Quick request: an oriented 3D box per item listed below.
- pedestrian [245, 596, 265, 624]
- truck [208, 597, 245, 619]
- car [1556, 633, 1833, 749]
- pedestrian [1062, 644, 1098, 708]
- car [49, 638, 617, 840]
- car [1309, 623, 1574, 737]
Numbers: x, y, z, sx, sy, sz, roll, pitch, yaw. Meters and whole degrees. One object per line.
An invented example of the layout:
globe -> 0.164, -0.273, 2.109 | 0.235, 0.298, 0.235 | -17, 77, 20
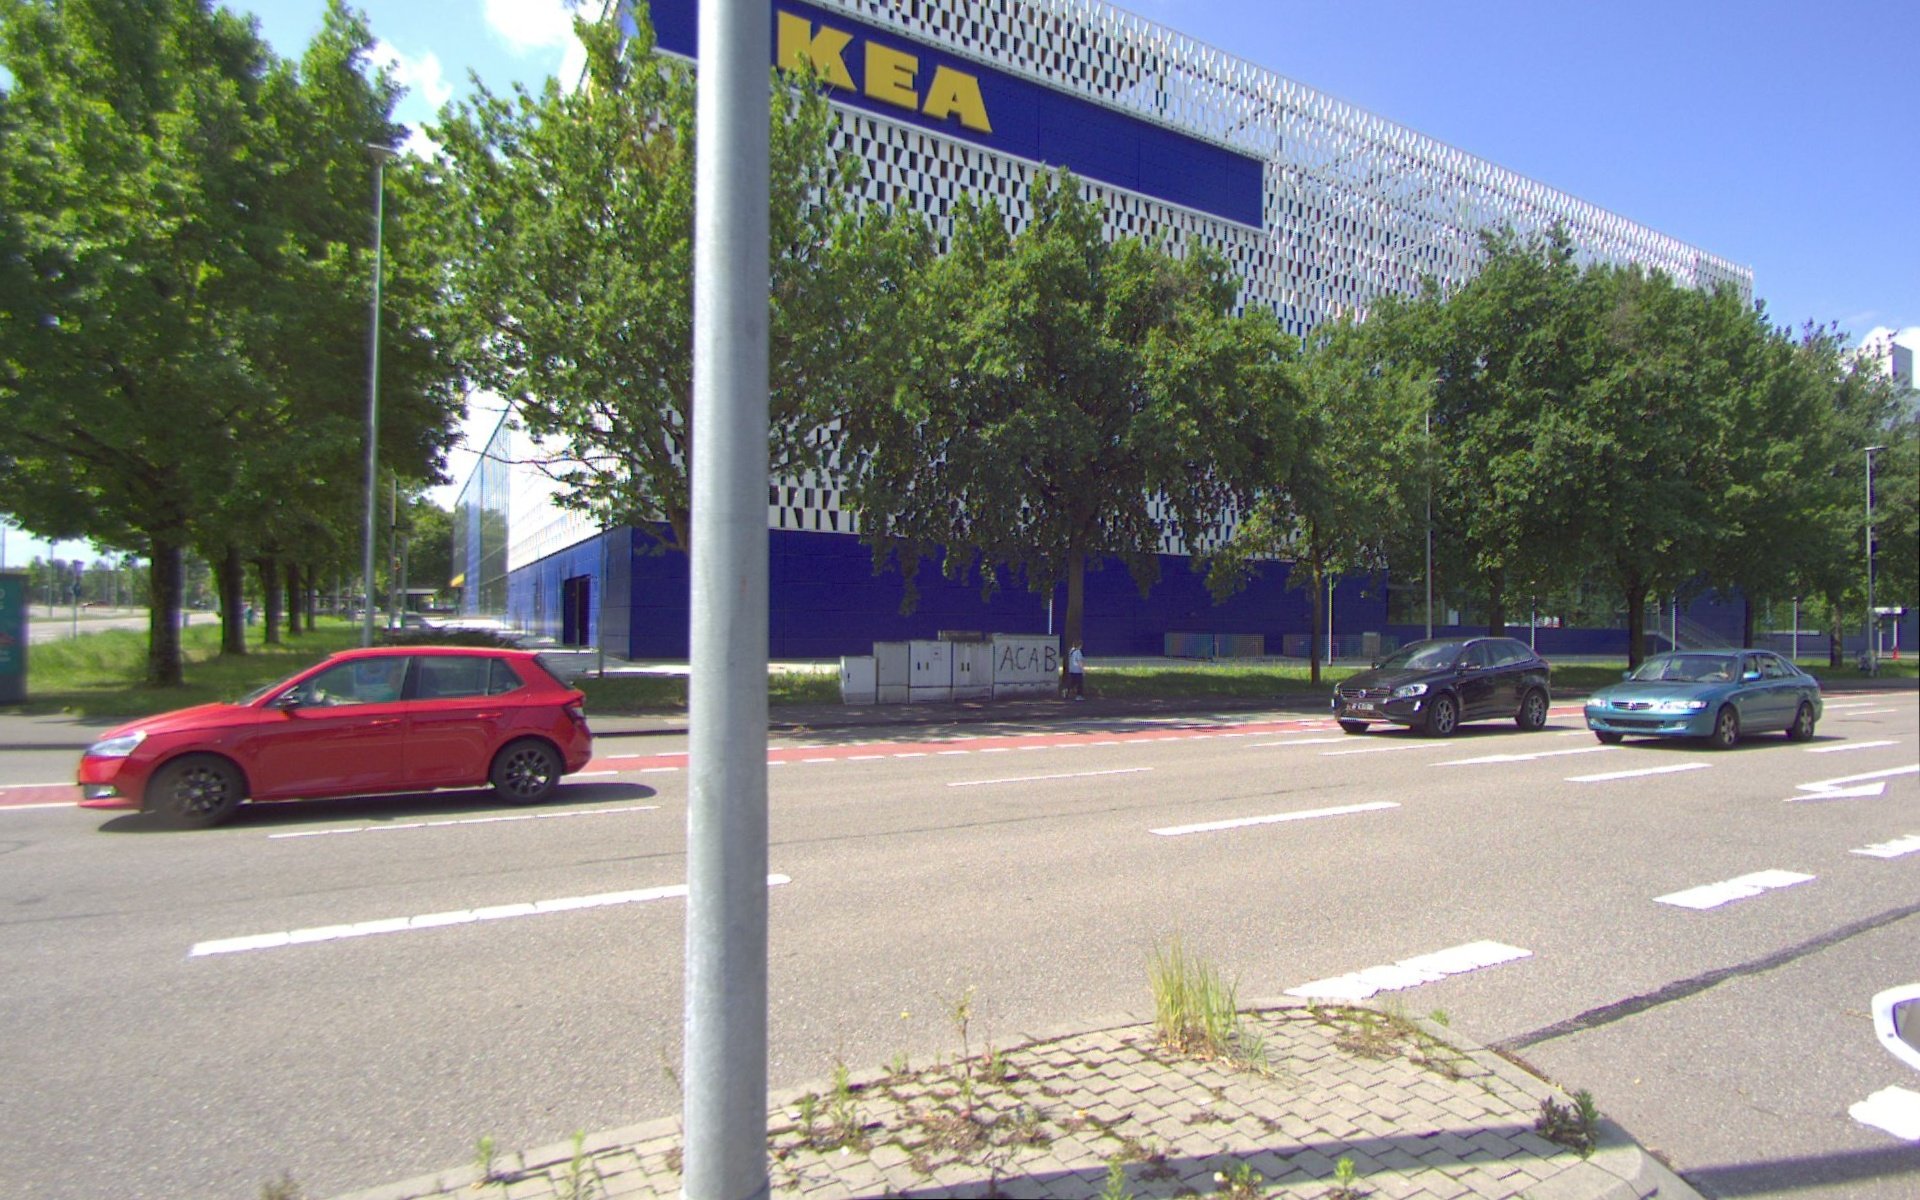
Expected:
pedestrian -> -45.750, 0.643, 65.190 | 0.842, 1.751, 1.158 | 0, 0, -24
truck -> -93.166, 0.985, 127.608 | 2.937, 2.789, 5.742 | 0, 0, -28
car -> 11.470, 1.342, 15.597 | 4.767, 1.568, 1.764 | 2, -4, -32
pedestrian -> 3.042, 1.914, 25.498 | 0.752, 1.575, 0.500 | 2, -1, -30
car -> -5.451, 1.135, 9.288 | 4.078, 1.502, 1.678 | 2, -4, -31
car -> 8.542, 1.364, 17.720 | 4.767, 1.778, 1.918 | 2, -4, -32
